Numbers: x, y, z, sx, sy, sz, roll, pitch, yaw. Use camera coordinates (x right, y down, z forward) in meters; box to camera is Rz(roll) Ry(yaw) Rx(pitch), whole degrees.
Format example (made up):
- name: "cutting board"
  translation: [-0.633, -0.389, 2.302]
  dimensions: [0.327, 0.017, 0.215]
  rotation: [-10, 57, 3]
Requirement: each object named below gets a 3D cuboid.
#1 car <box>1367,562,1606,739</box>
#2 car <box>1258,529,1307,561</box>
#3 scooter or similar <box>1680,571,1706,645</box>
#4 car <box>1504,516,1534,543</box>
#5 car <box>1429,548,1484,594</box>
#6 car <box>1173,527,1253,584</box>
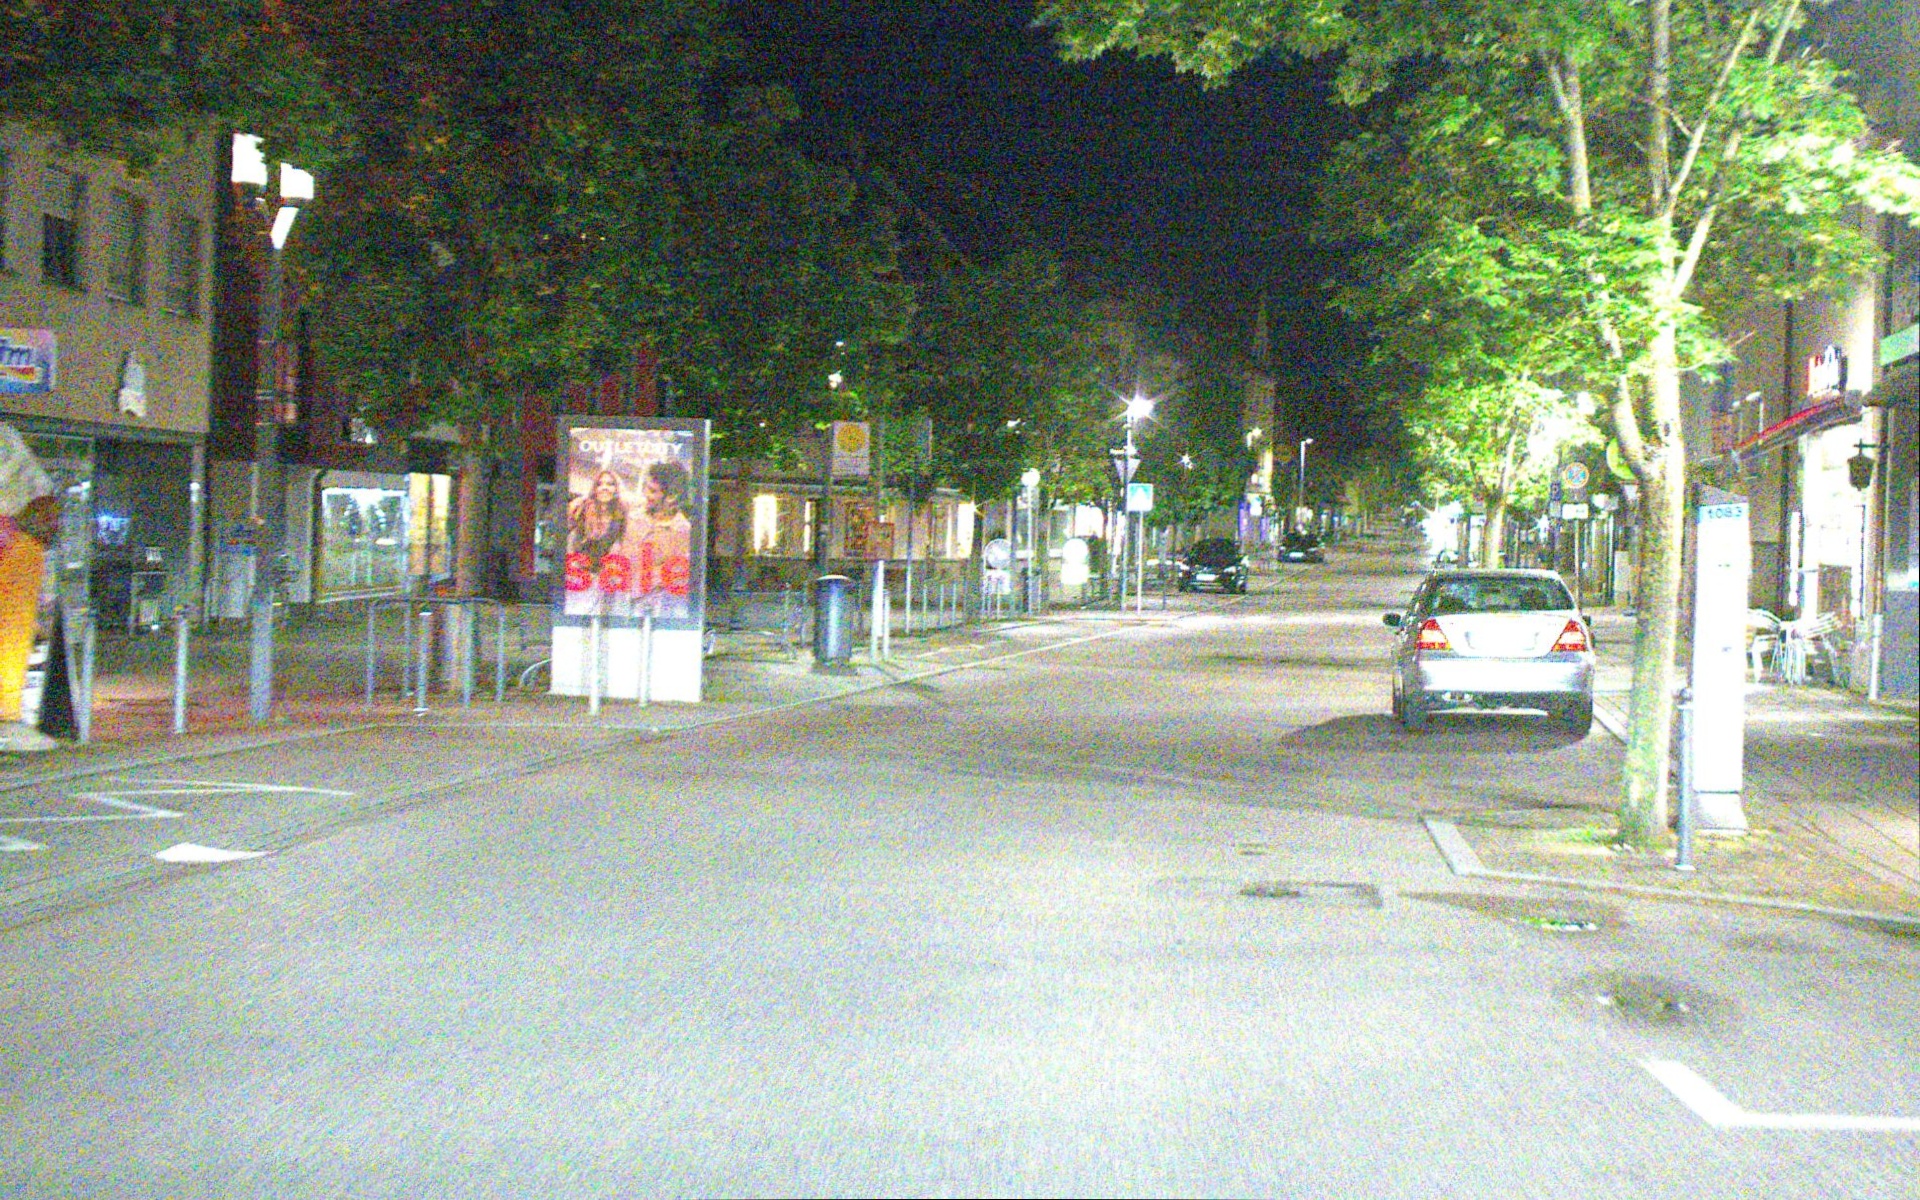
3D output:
- name: "car"
  translation: [4.766, 0.410, 31.671]
  dimensions: [1.734, 1.436, 4.496]
  rotation: [1, 1, 3]
- name: "car"
  translation: [15.292, -2.619, 162.893]
  dimensions: [1.915, 1.366, 4.455]
  rotation: [1, 2, 11]
- name: "scooter or similar"
  translation: [12.766, 0.137, 59.875]
  dimensions: [0.373, 1.272, 1.305]
  rotation: [1, 0, 9]
- name: "car"
  translation: [34.794, -4.405, 213.920]
  dimensions: [1.776, 1.646, 4.362]
  rotation: [1, 2, 10]
- name: "car"
  translation: [16.427, -0.965, 113.795]
  dimensions: [1.675, 1.454, 3.675]
  rotation: [1, 1, 7]
- name: "car"
  translation: [8.073, -1.443, 109.401]
  dimensions: [2.018, 1.685, 5.001]
  rotation: [3, 2, 9]
